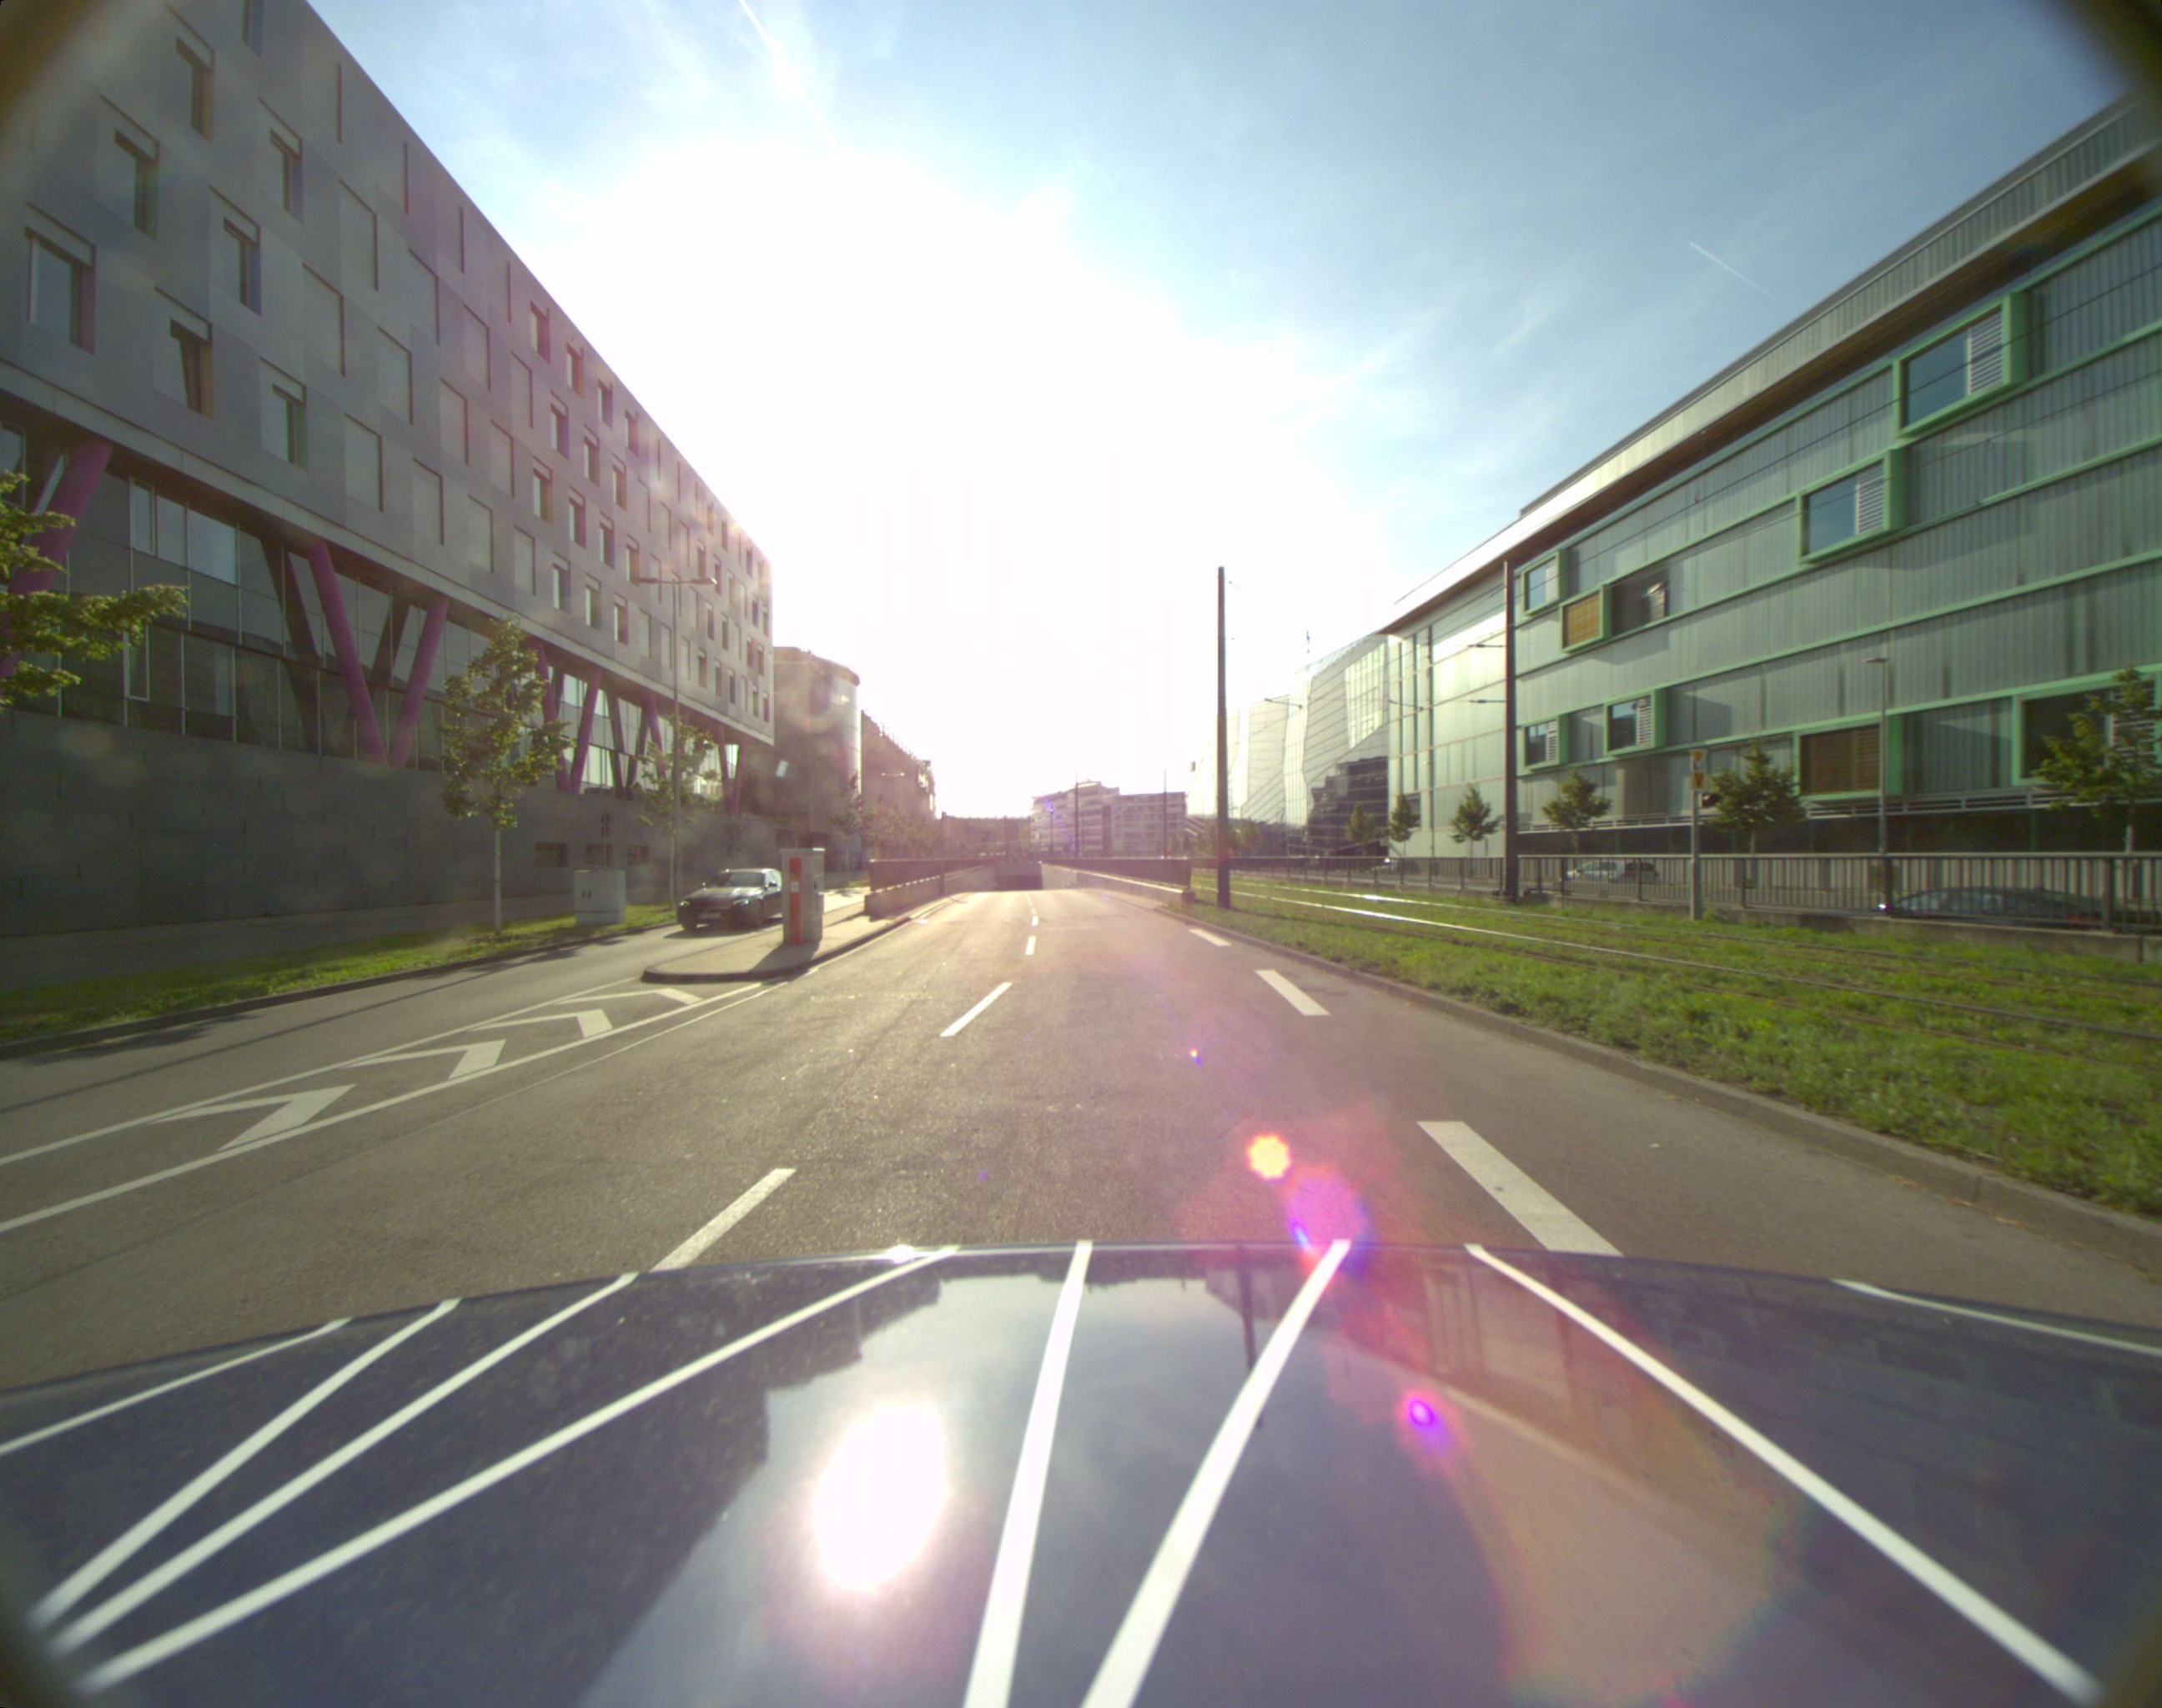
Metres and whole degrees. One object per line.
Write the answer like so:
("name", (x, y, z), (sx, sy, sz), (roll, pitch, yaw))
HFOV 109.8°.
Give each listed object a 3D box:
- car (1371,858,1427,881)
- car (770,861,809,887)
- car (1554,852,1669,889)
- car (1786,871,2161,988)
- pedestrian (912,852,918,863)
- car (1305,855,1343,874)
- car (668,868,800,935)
("car", (20.830, 0.987, 49.996), (1.775, 1.478, 4.026), (-1, 0, -4))
("car", (-19.363, 1.305, 50.704), (1.897, 1.418, 4.466), (-2, 2, -14))
("car", (22.175, 0.643, 31.990), (1.665, 1.414, 4.183), (-1, 0, -5))
("car", (16.498, 1.230, 14.226), (1.999, 1.677, 4.724), (-1, 0, -5))
("pedestrian", (-26.726, 0.630, 122.219), (0.726, 1.776, 0.771), (-1, 1, -5))
("car", (21.291, 0.888, 66.721), (1.775, 1.597, 4.026), (-1, 0, -4))
("car", (-8.986, 1.161, 20.139), (1.845, 1.441, 4.553), (-2, 0, -7))
